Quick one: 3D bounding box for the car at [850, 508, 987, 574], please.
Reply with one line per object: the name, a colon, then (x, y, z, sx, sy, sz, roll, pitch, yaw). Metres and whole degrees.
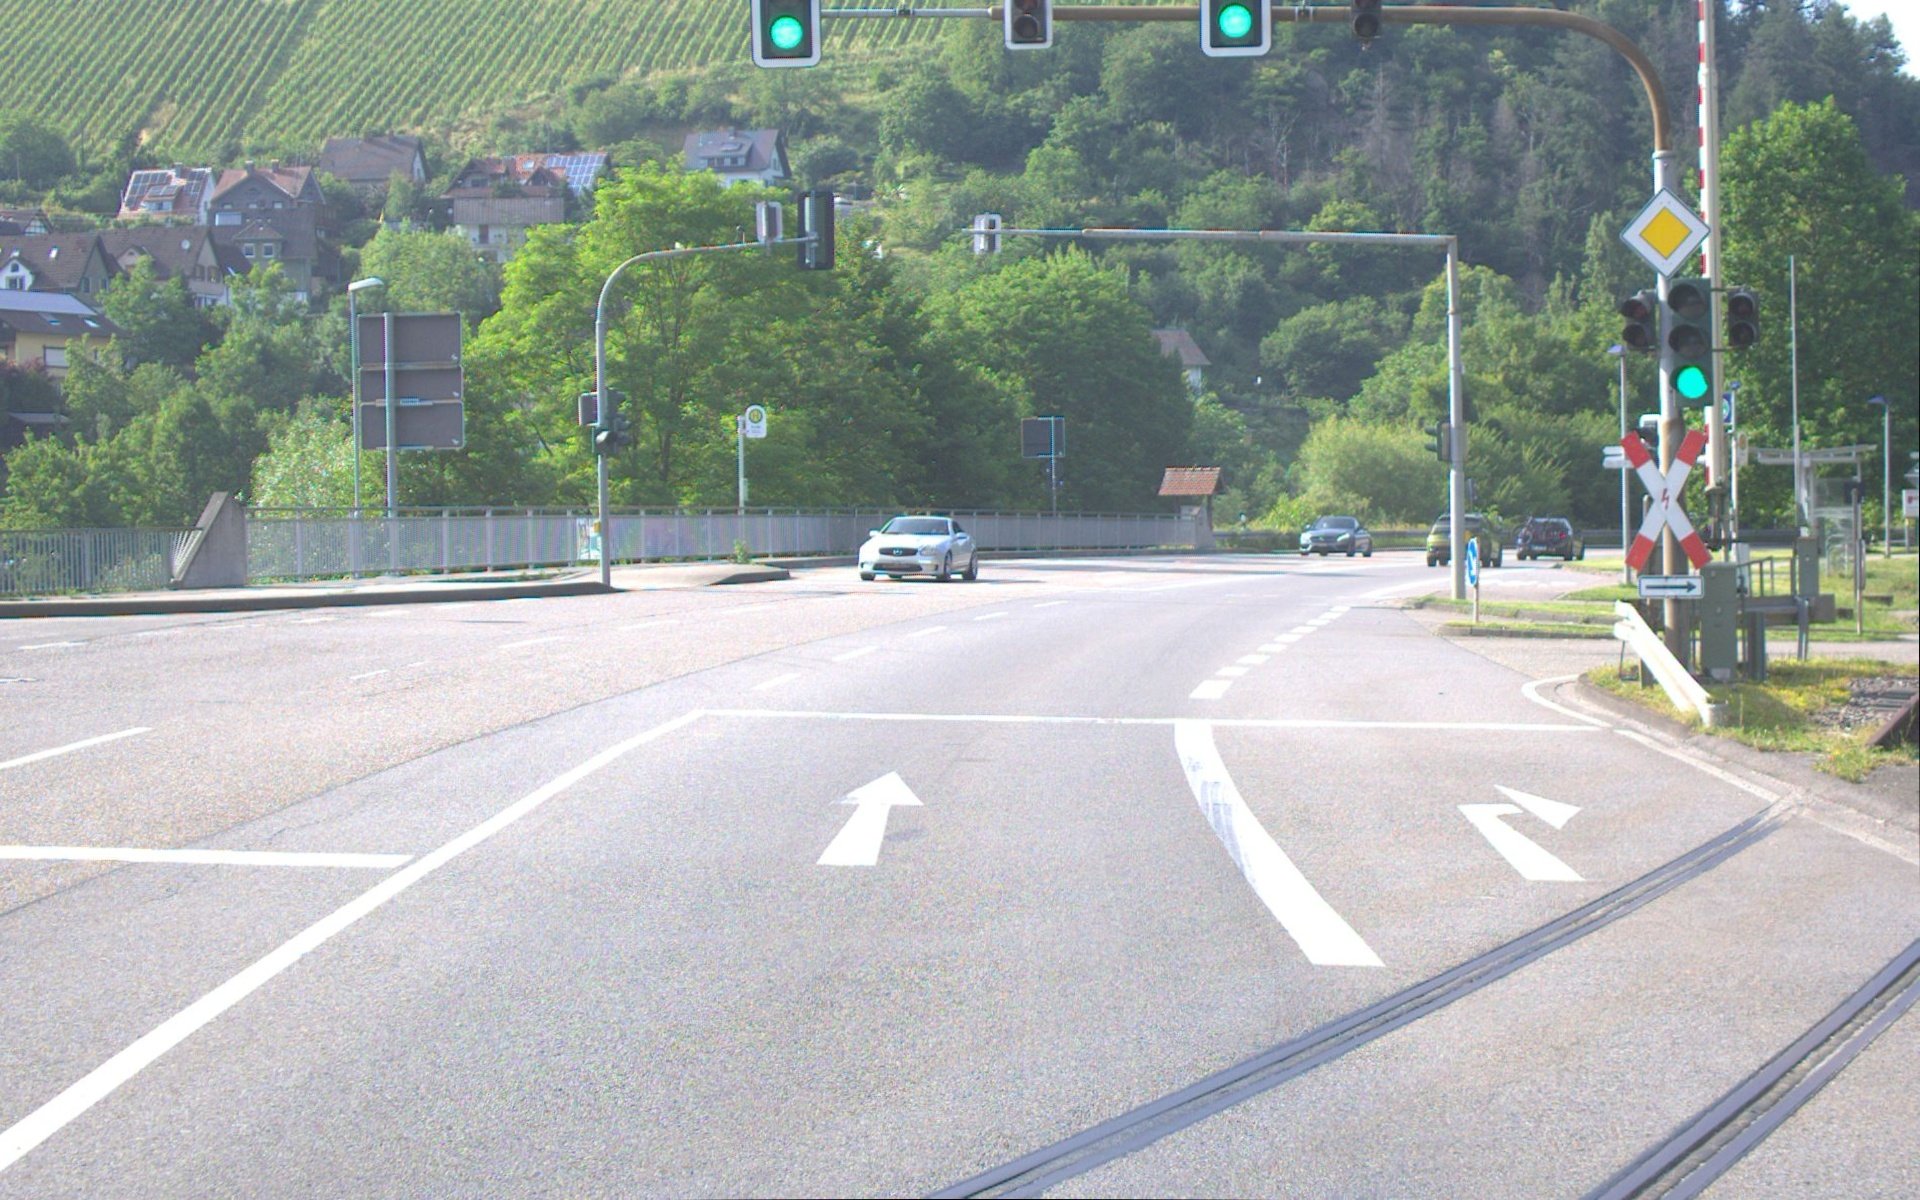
car: (-0.771, -1.173, 67.125, 1.646, 1.227, 4.091, 1, 2, 15)

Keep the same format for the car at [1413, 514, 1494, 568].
car: (13.774, -1.641, 95.924, 1.730, 1.452, 3.408, -1, 1, 17)

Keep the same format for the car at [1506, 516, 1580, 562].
car: (19.619, -2.050, 115.562, 1.842, 1.454, 3.709, -1, 1, 19)

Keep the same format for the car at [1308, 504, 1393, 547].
car: (13.467, -2.560, 118.396, 1.773, 1.373, 4.639, 2, 2, 20)

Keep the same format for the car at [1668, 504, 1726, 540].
car: (31.657, -3.338, 147.612, 1.809, 1.448, 3.643, -1, 1, 22)

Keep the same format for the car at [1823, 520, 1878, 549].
car: (44.123, -3.260, 170.353, 1.811, 1.403, 3.768, -1, 1, 28)
